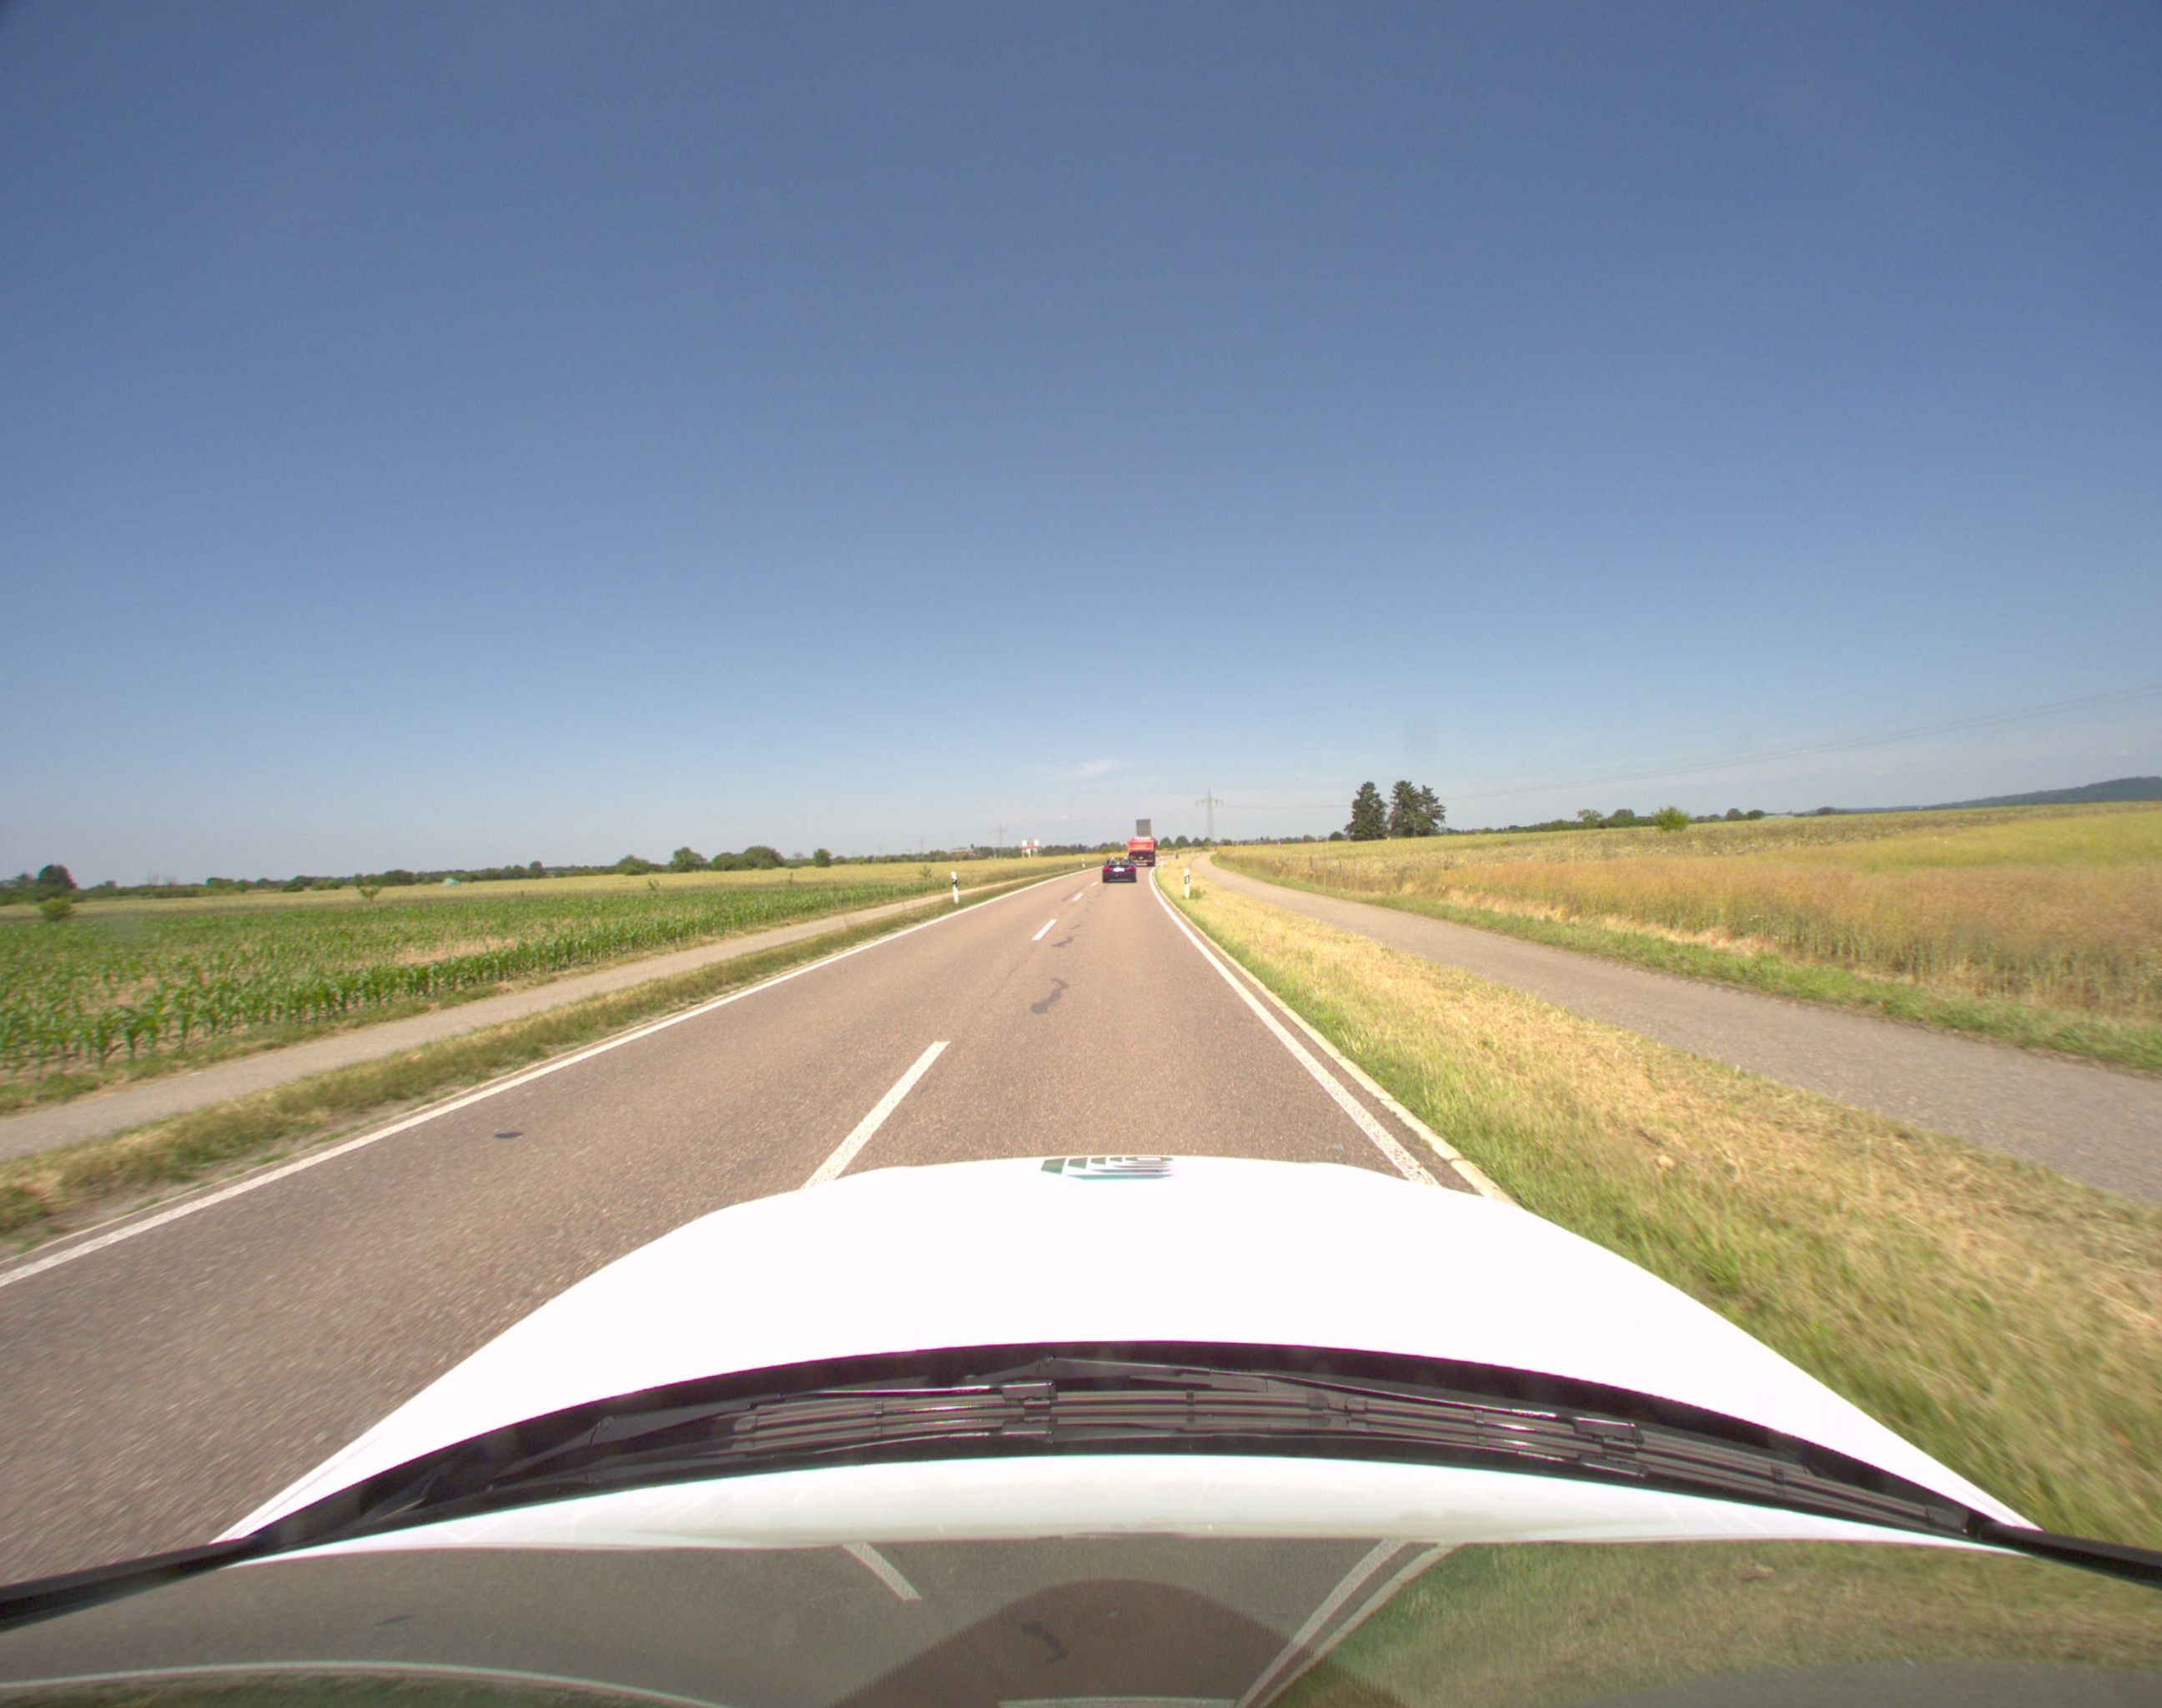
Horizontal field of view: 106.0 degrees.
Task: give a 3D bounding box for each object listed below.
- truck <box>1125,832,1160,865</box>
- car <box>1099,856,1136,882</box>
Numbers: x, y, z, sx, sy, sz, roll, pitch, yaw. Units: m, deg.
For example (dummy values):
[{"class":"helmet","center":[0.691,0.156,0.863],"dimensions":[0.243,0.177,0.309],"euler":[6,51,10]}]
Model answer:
[{"class":"truck","center":[6.303,-0.505,82.386],"dimensions":[2.921,3.089,7.212],"euler":[-1,-1,8]},{"class":"car","center":[1.953,0.745,42.899],"dimensions":[1.735,1.280,4.006],"euler":[-1,-1,5]}]
